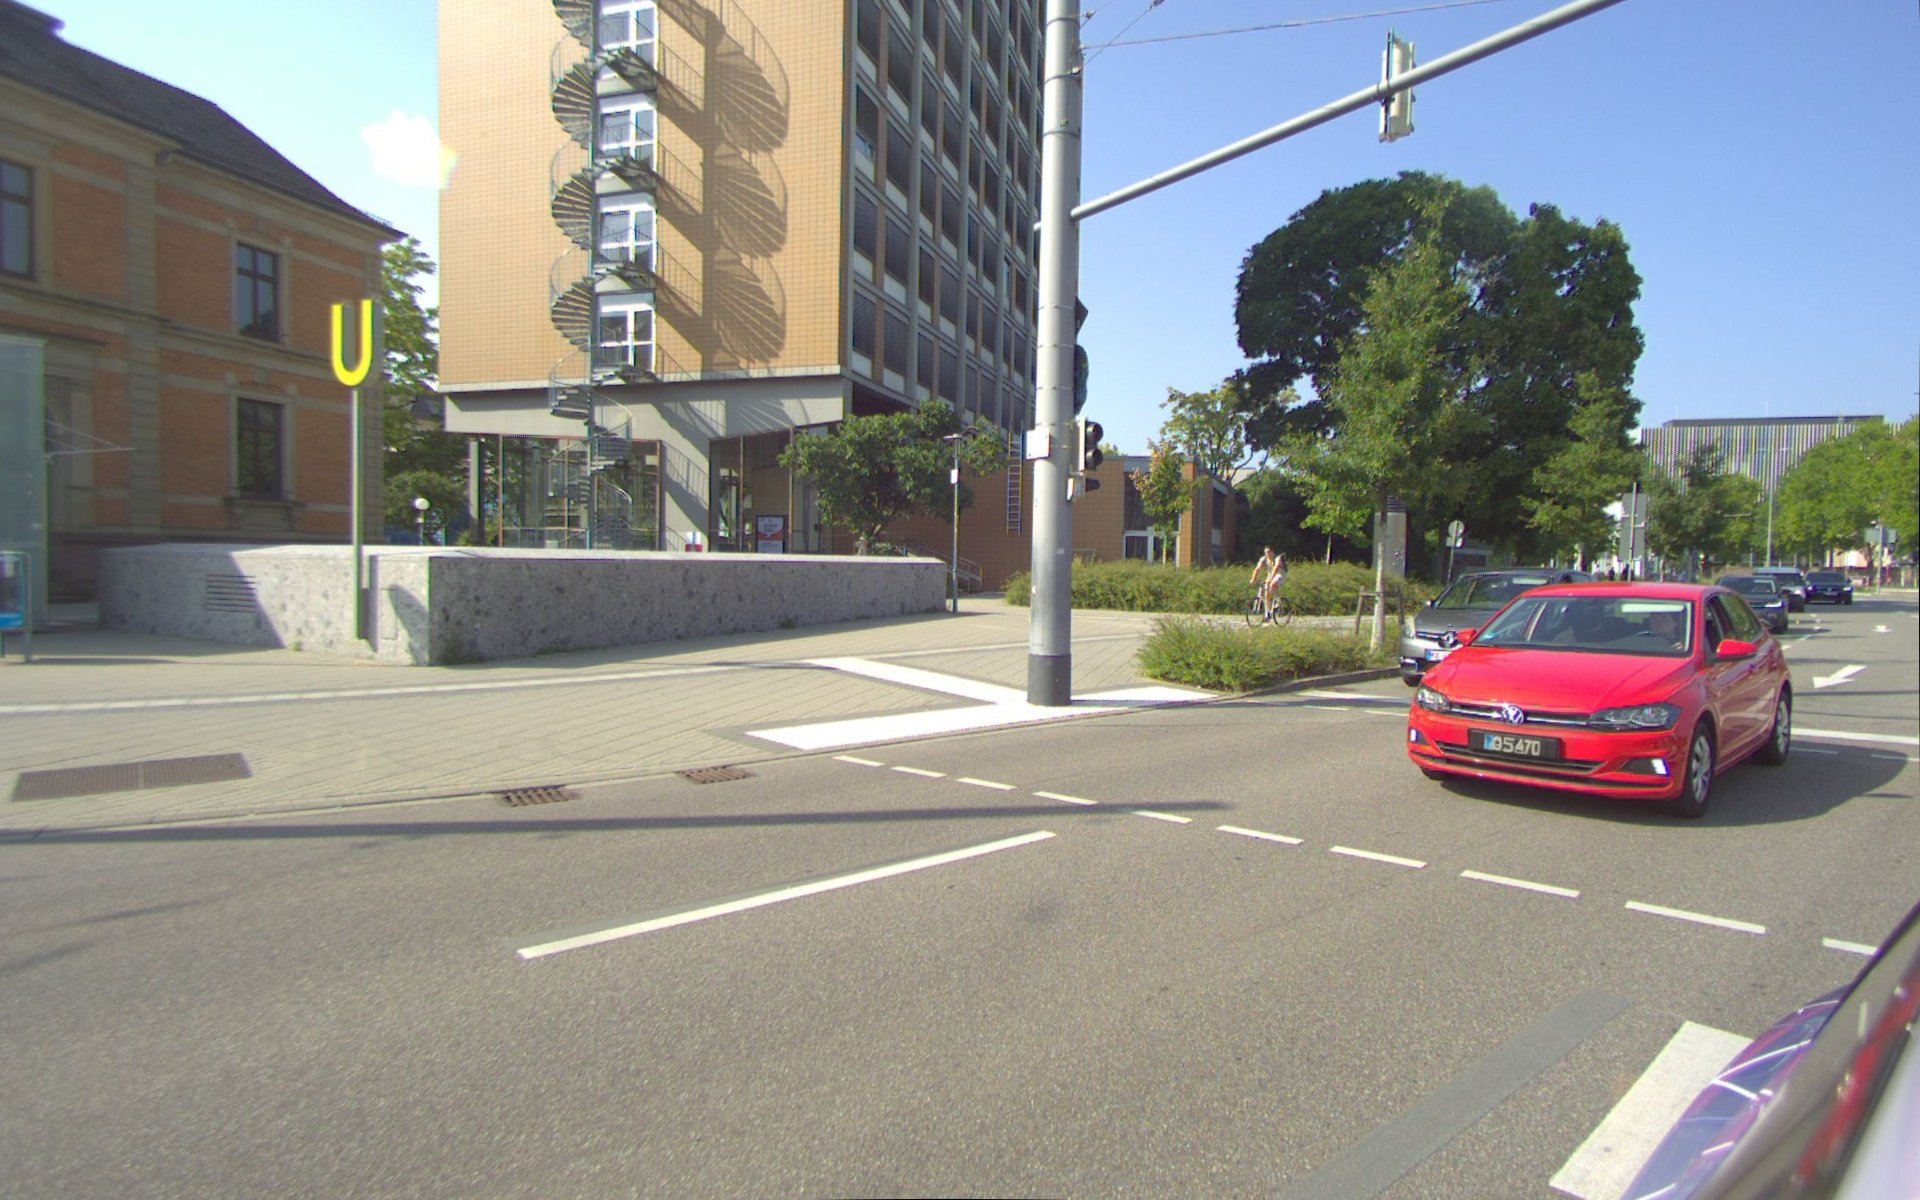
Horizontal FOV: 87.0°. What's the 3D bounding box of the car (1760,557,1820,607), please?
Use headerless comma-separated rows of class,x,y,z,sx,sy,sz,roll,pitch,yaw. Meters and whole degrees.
car,34.730,-0.768,42.428,1.679,1.965,4.314,3,3,37

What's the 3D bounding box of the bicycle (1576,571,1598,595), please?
bicycle,30.401,-0.832,49.042,0.768,1.131,2.275,2,2,35

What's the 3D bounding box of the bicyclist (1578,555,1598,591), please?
bicyclist,30.450,-1.317,49.074,0.769,1.697,0.913,1,2,35

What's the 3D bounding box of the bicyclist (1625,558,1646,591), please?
bicyclist,31.284,-1.194,46.870,0.718,1.531,0.991,2,2,38

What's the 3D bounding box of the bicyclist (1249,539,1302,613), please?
bicyclist,7.029,-0.542,22.540,0.771,1.612,0.909,2,2,44

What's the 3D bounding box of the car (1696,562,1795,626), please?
car,22.030,-0.185,28.314,1.933,1.627,4.465,1,1,41

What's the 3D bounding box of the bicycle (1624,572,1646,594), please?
bicycle,31.241,-0.802,46.824,0.718,0.971,1.896,2,3,38

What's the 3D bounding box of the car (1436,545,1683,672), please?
car,9.024,0.102,15.088,4.342,1.626,1.781,0,-1,-39

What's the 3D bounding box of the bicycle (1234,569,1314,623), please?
bicycle,7.013,-0.111,22.512,0.771,1.131,2.267,2,3,44

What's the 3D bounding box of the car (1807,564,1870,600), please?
car,44.082,-0.926,50.860,1.675,1.674,4.323,2,3,32

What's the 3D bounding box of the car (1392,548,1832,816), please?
car,5.176,0.407,7.779,4.296,1.510,1.686,-1,3,-41
